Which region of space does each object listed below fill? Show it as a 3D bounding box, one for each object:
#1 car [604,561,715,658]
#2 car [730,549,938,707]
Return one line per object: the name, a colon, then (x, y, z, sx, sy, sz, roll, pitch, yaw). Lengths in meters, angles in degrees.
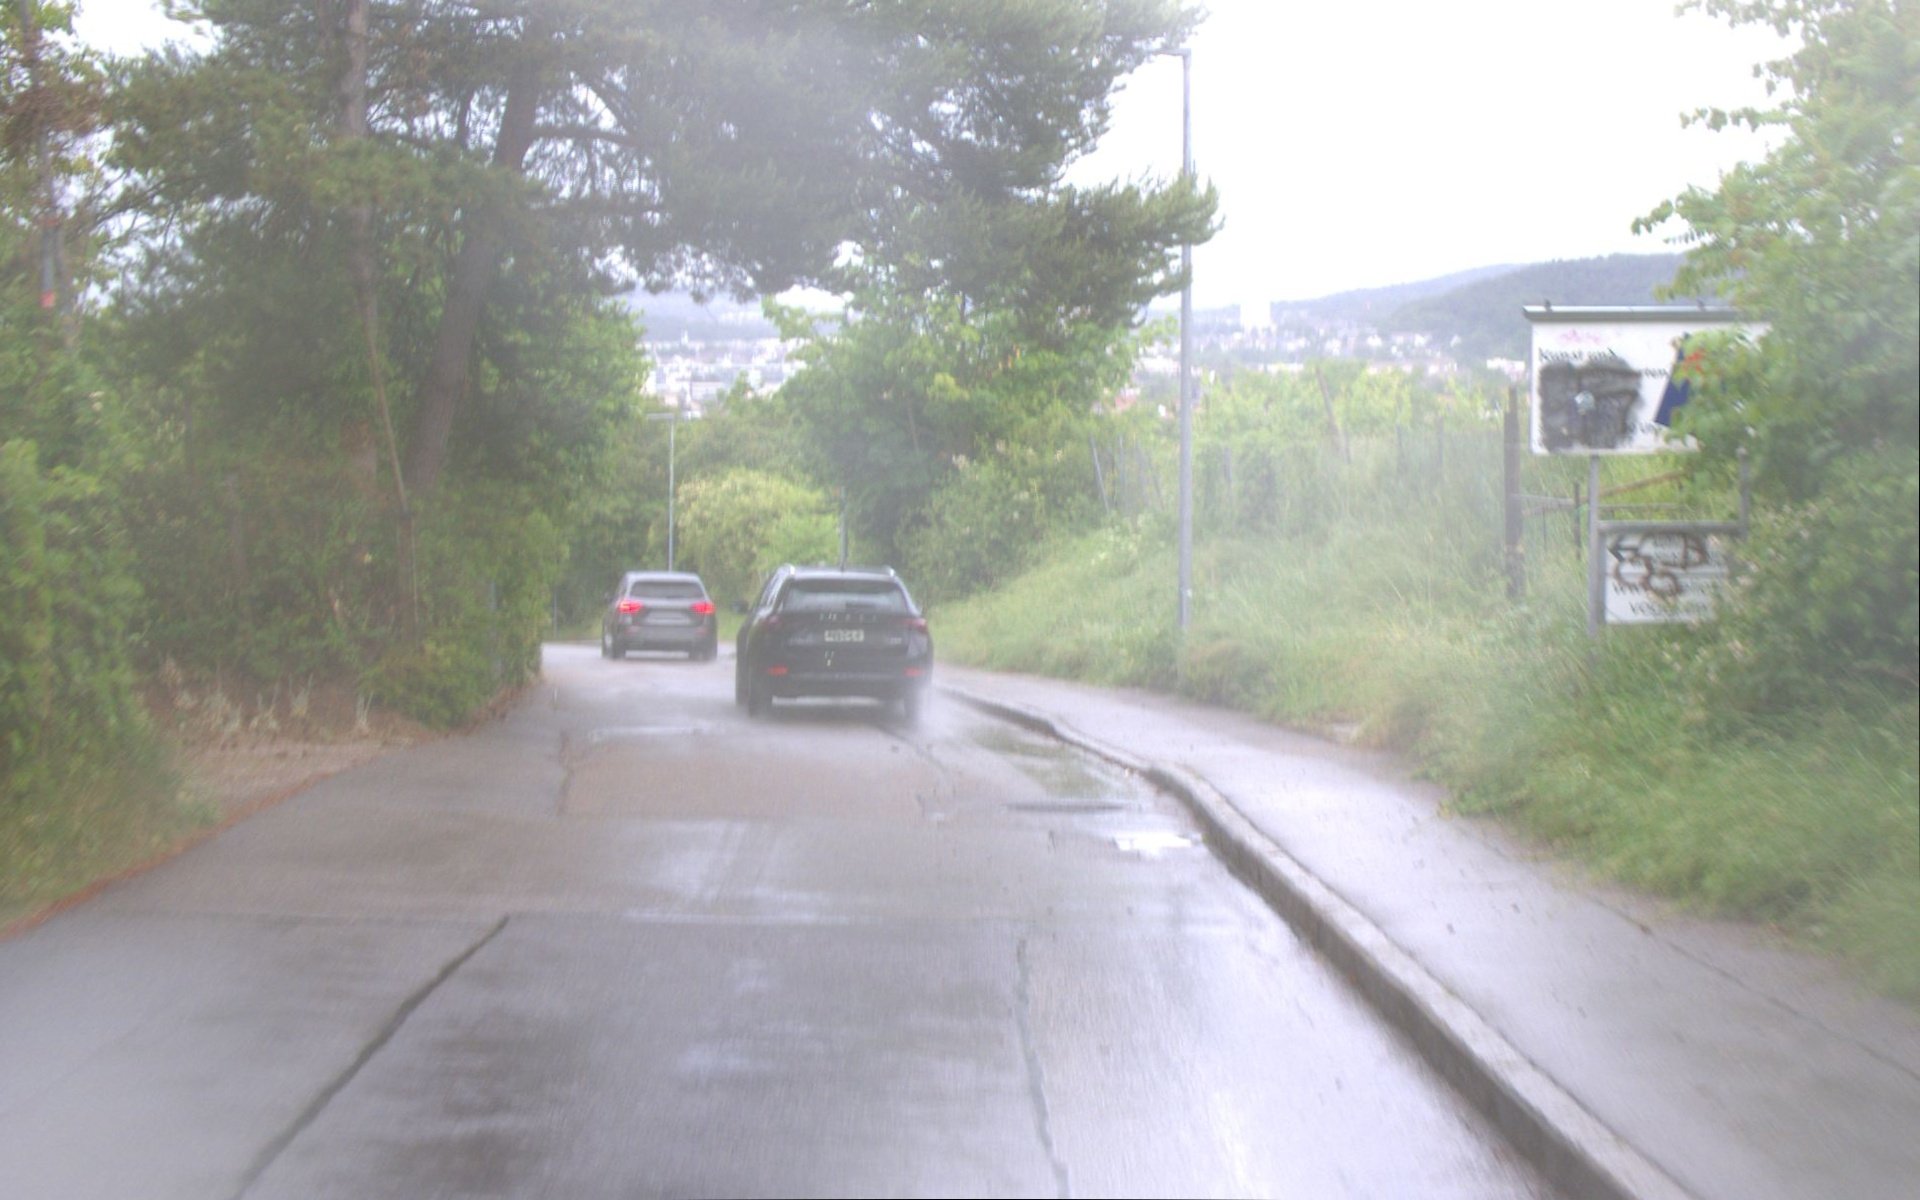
car: (-5.257, 0.142, 59.792, 1.677, 1.560, 3.795, 1, 1, -8)
car: (-1.295, 0.235, 33.778, 1.834, 1.459, 4.001, 0, 1, -5)
